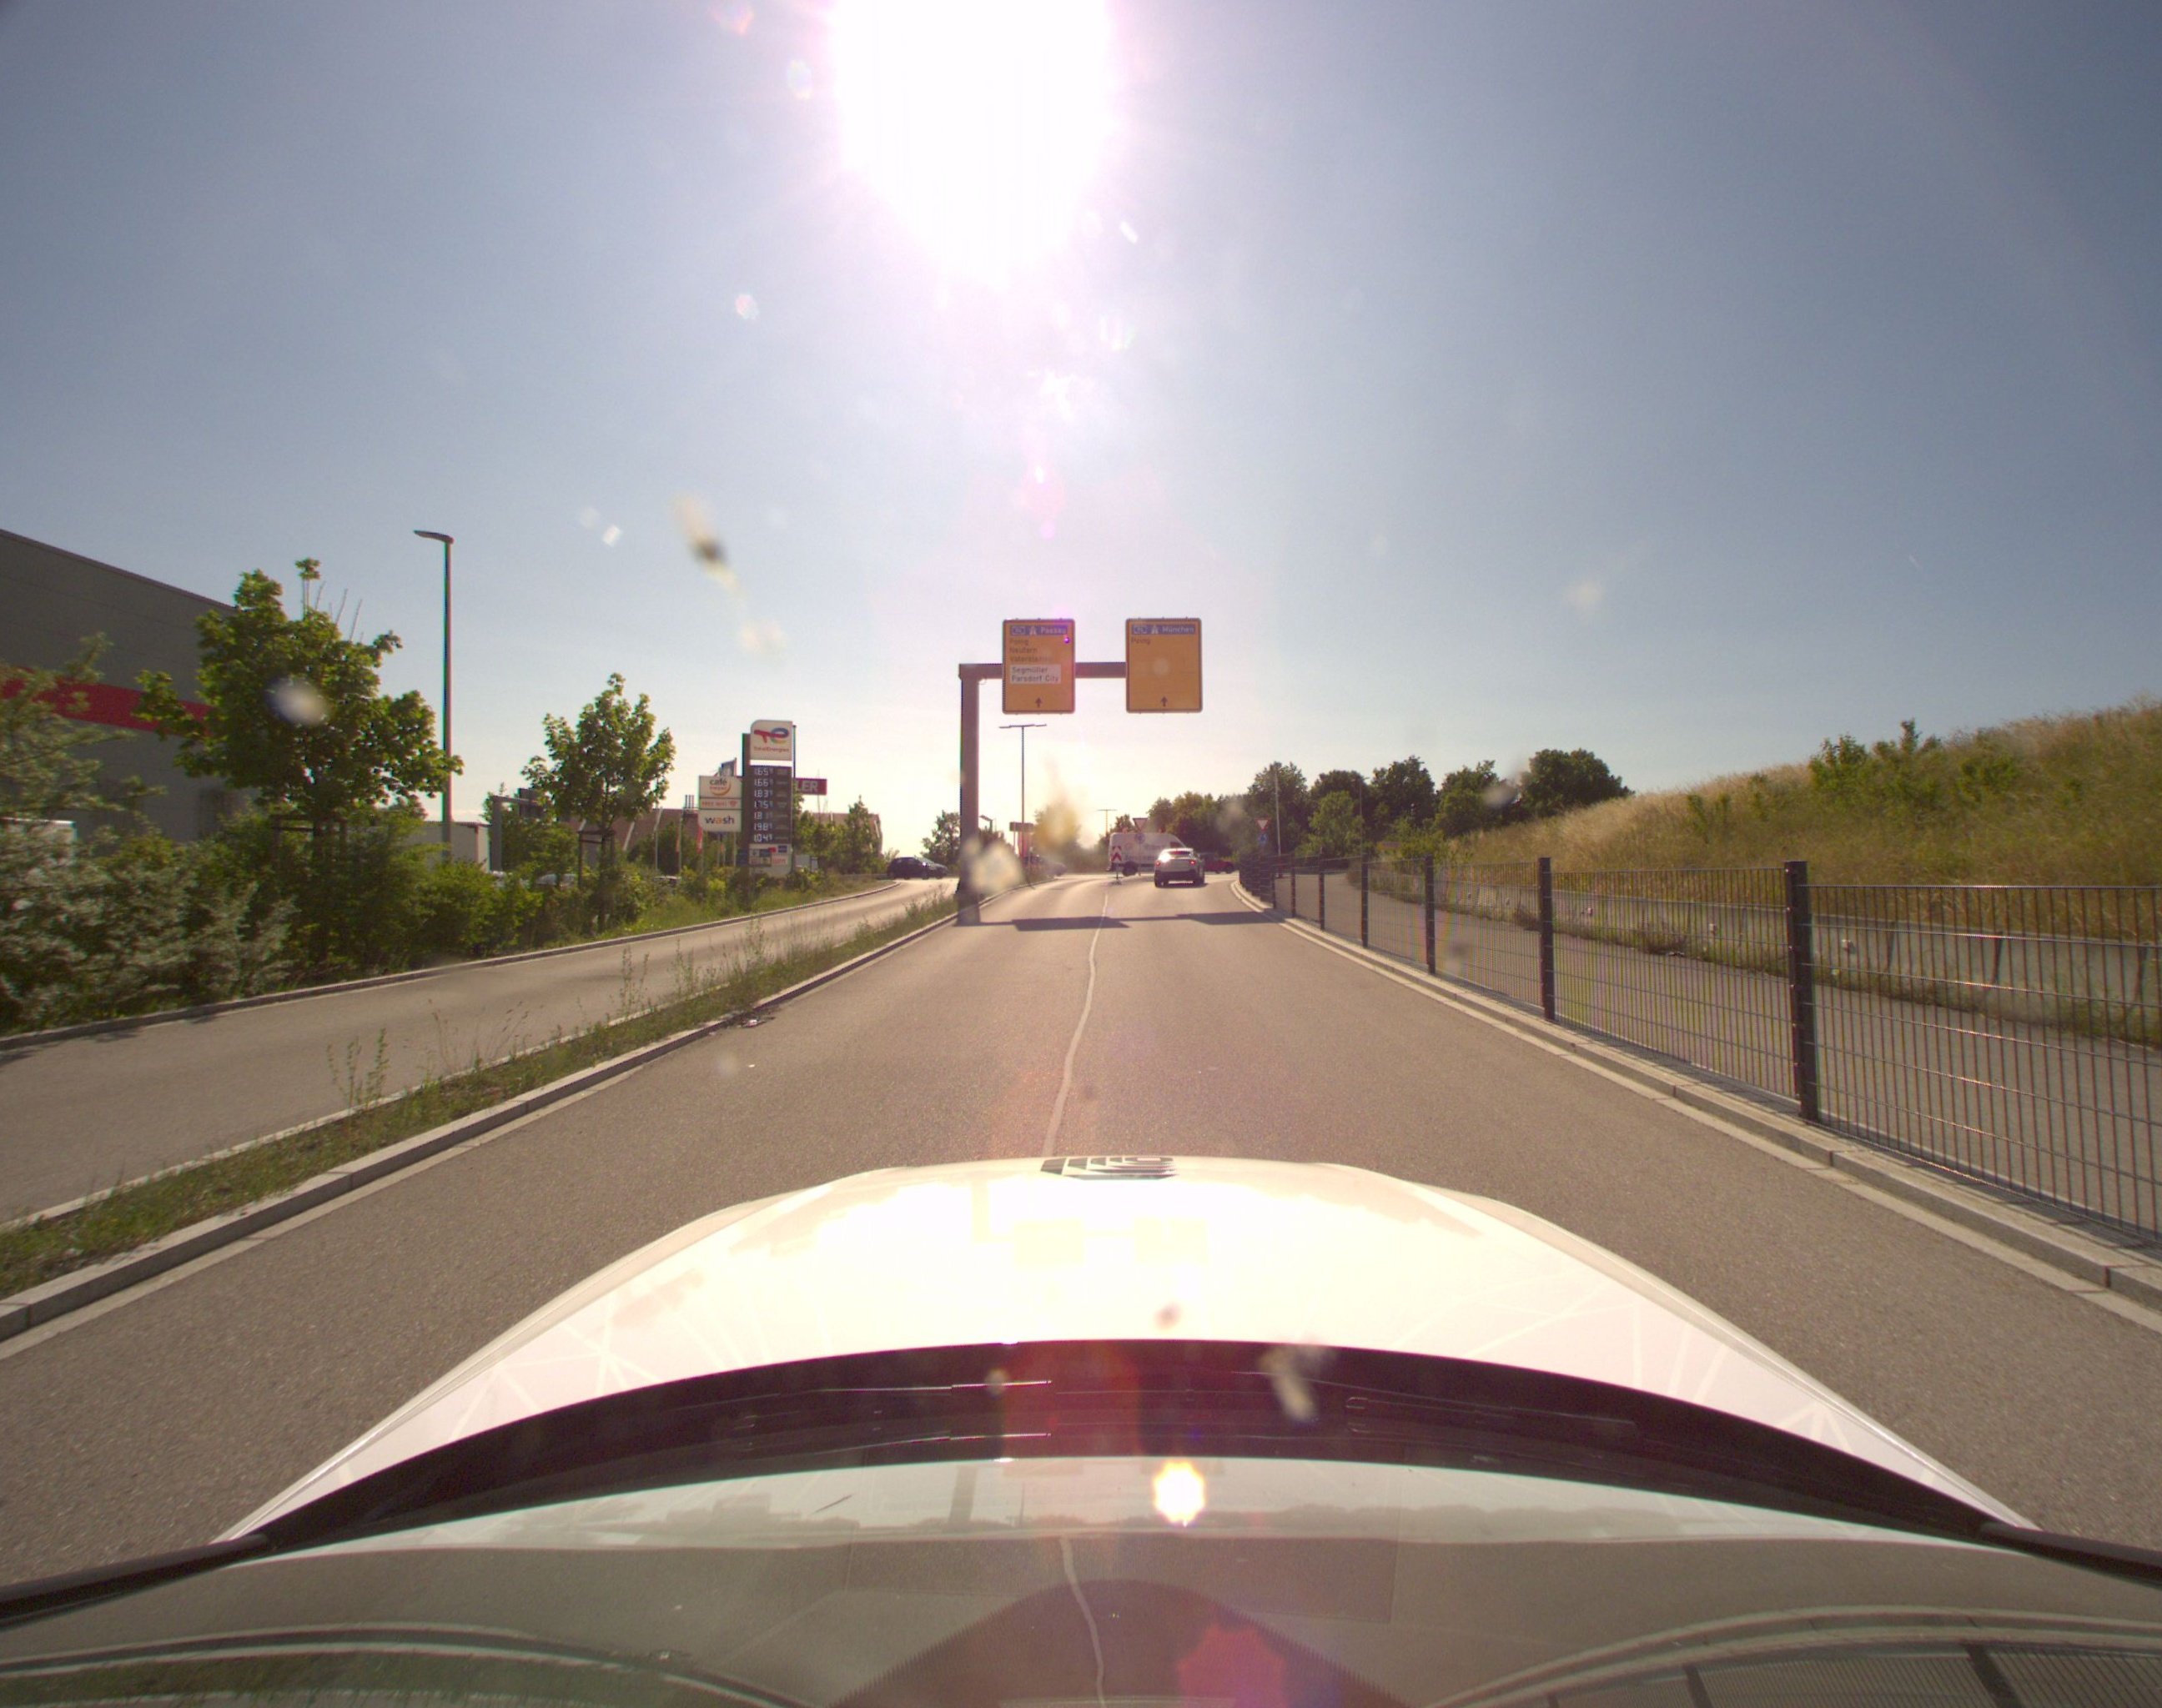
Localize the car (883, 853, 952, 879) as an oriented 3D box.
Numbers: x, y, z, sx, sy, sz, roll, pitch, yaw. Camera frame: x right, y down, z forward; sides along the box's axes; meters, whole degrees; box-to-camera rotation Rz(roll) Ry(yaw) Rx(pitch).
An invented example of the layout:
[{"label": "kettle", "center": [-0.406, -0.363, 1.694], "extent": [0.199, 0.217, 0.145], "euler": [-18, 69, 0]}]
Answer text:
[{"label": "car", "center": [-10.588, 0.760, 52.892], "extent": [3.927, 1.618, 1.822], "euler": [0, -1, 7]}]

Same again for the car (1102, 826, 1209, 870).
[{"label": "car", "center": [4.466, -0.346, 49.418], "extent": [6.168, 2.554, 2.085], "euler": [0, -1, -8]}]

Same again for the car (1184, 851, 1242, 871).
[{"label": "car", "center": [9.411, 0.481, 58.134], "extent": [3.815, 1.405, 1.617], "euler": [0, -1, -18]}]

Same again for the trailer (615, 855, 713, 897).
[{"label": "trailer", "center": [-18.523, 0.952, 36.213], "extent": [3.710, 1.772, 1.789], "euler": [1, -1, -33]}]

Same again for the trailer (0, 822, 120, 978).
[{"label": "trailer", "center": [-15.407, 0.592, 10.860], "extent": [2.742, 2.014, 1.983], "euler": [0, -1, -26]}]

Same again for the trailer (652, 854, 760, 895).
[{"label": "trailer", "center": [-15.122, 0.831, 32.875], "extent": [3.710, 1.452, 1.690], "euler": [4, -3, -33]}]

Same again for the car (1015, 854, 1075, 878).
[{"label": "car", "center": [-2.520, 0.850, 56.616], "extent": [3.690, 1.618, 1.883], "euler": [0, -1, 22]}]

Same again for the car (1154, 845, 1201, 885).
[{"label": "car", "center": [4.075, 0.466, 34.664], "extent": [1.832, 1.596, 4.332], "euler": [-1, -1, 6]}]

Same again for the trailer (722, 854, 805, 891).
[{"label": "trailer", "center": [-16.431, 0.916, 42.137], "extent": [3.711, 1.772, 1.789], "euler": [-2, 0, -33]}]

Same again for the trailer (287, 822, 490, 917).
[{"label": "trailer", "center": [-15.743, 0.340, 18.740], "extent": [3.249, 2.014, 1.731], "euler": [1, -1, -30]}]

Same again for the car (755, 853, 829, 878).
[{"label": "car", "center": [-26.334, 1.038, 74.313], "extent": [6.275, 2.234, 2.025], "euler": [0, -1, -21]}]

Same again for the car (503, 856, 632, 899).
[{"label": "car", "center": [-18.852, 0.806, 30.183], "extent": [1.791, 1.483, 4.499], "euler": [0, 0, 2]}]
